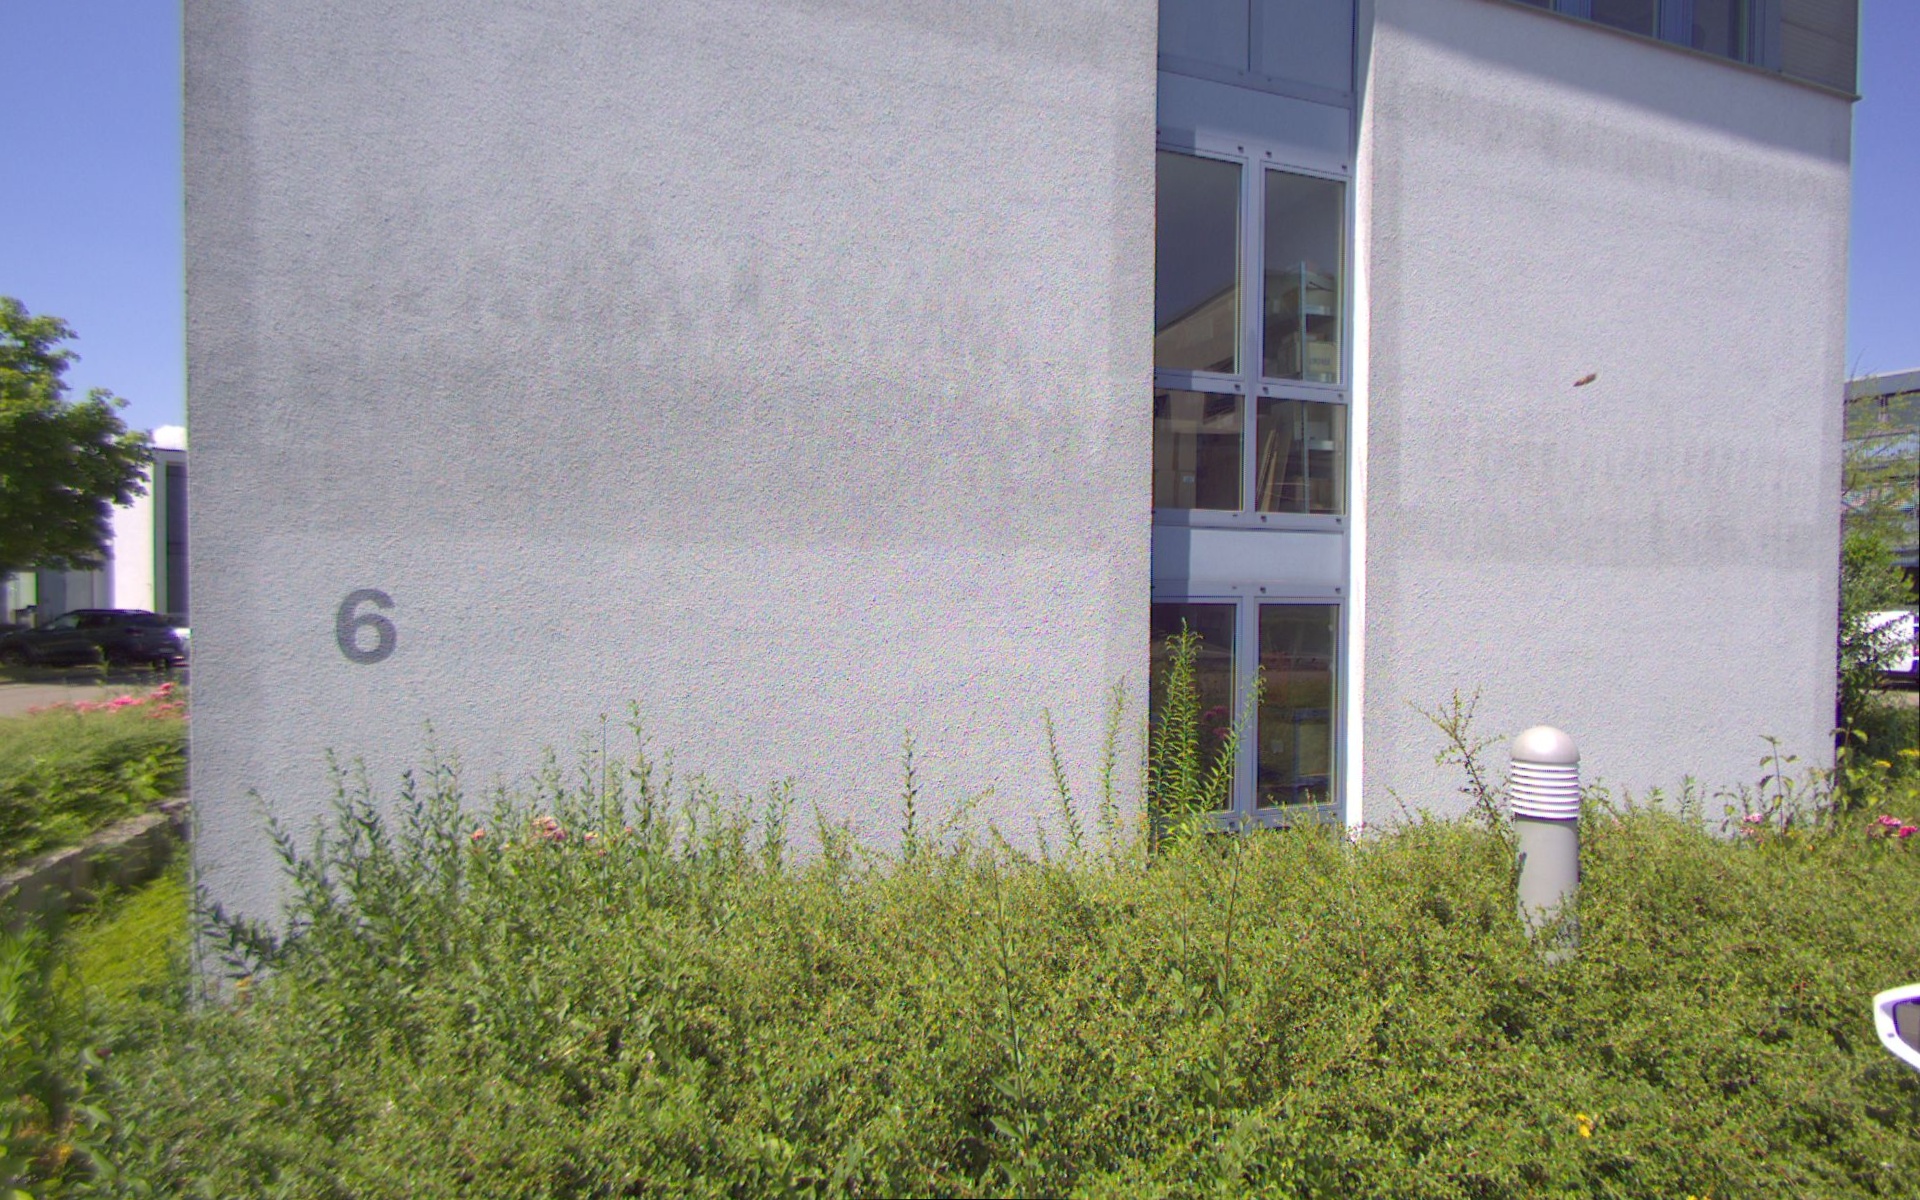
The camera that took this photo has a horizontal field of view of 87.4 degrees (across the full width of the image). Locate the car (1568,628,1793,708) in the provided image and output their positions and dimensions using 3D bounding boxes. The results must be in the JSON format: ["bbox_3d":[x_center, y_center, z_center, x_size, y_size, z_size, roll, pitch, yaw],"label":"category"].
[{"bbox_3d":[15.098,1.346,21.046,4.420,1.492,1.852,0,0,-24],"label":"car"}]

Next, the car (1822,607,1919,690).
[{"bbox_3d":[24.064,1.141,25.092,4.732,1.916,1.878,0,0,-22],"label":"car"}]

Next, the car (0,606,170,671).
[{"bbox_3d":[-21.570,0.934,24.684,2.942,1.443,1.549,2,-1,-4],"label":"car"}]

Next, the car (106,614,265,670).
[{"bbox_3d":[-20.876,1.110,27.160,3.030,1.443,1.549,1,-1,-4],"label":"car"}]
